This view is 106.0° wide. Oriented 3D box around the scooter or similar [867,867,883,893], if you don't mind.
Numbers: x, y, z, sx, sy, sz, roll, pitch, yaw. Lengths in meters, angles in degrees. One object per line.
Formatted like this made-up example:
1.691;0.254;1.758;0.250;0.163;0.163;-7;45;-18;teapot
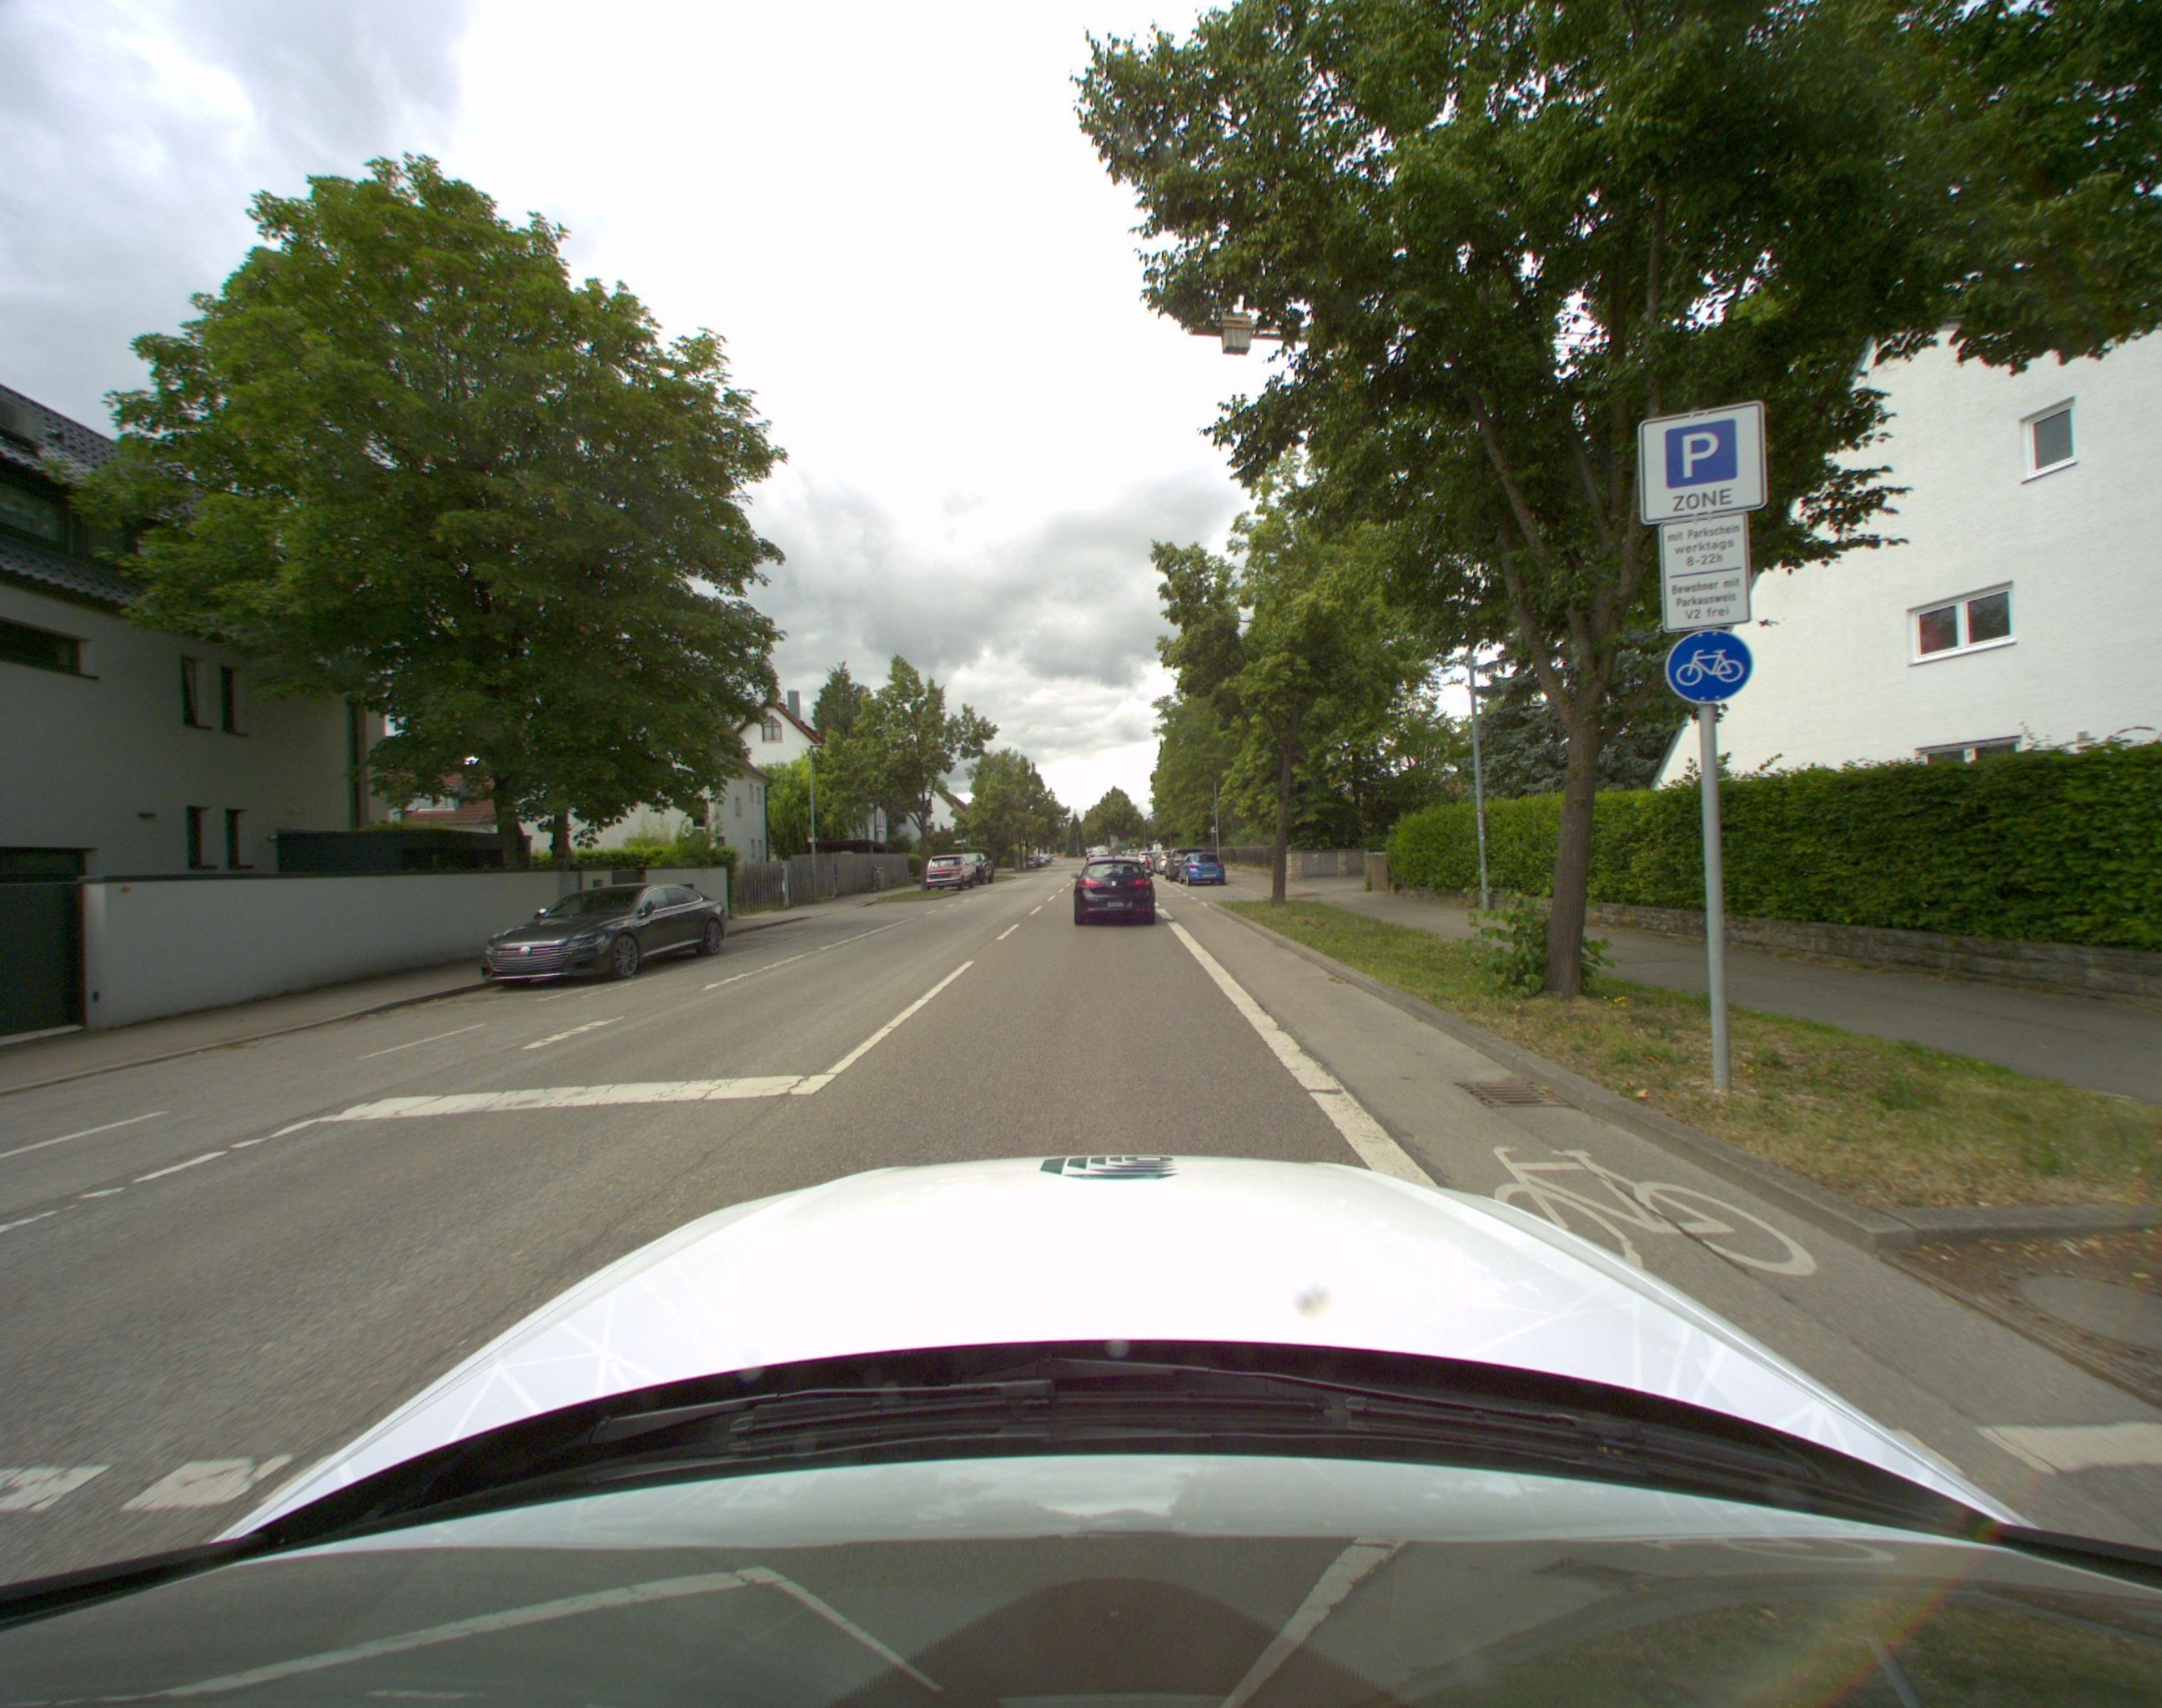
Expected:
-9.938;1.250;39.323;0.386;1.230;1.497;-2;0;-3;scooter or similar

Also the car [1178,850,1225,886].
5.451;0.605;37.197;1.682;1.490;3.355;-2;0;1;car

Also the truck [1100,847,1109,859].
6.196;-0.252;215.621;2.271;3.104;8.510;0;0;0;truck

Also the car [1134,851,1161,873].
4.971;0.573;61.453;1.682;1.564;4.214;-2;0;1;car

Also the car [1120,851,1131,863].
7.712;0.537;141.357;1.682;1.875;4.214;-2;0;1;car

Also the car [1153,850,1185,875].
5.878;0.572;54.758;1.682;1.564;4.214;-2;0;1;car

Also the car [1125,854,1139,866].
6.842;0.828;109.985;1.682;1.564;4.214;-2;0;1;car

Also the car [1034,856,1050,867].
-6.273;1.188;132.632;2.093;1.506;5.784;-4;0;1;car

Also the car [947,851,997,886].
-6.635;0.850;50.191;2.093;1.896;5.784;-4;0;1;car

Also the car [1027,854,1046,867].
-6.110;0.886;112.687;2.093;1.506;5.784;-4;0;1;car

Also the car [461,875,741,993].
-7.634;1.166;13.652;1.712;1.395;4.802;-4;0;1;car

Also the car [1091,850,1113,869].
1.827;0.480;69.618;1.839;1.510;3.814;0;0;3;car

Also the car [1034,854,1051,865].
-5.731;0.818;122.664;2.093;1.506;5.784;-4;0;1;car

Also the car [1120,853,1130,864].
8.331;0.848;153.060;1.682;1.875;4.214;-2;0;1;car

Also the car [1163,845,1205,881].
5.282;0.445;42.312;1.682;1.711;4.214;-2;0;1;car

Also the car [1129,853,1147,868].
6.382;0.687;91.359;1.682;1.564;4.214;-2;0;1;car

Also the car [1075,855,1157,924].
0.704;0.731;18.505;1.657;1.401;3.810;0;0;0;car

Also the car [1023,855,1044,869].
-5.770;0.946;99.969;2.093;1.506;5.784;-4;0;1;car

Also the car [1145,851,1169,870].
6.509;0.530;69.718;1.682;1.564;4.214;-2;0;1;car

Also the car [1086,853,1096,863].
1.923;0.739;154.825;1.875;1.689;4.214;-2;0;1;car

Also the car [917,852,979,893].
-6.861;0.899;42.581;2.093;1.896;5.784;-4;0;1;car

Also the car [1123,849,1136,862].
6.954;0.193;116.877;1.682;1.875;4.214;-2;0;1;car

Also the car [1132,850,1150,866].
6.270;0.410;85.496;1.682;1.564;4.214;-2;0;1;car
